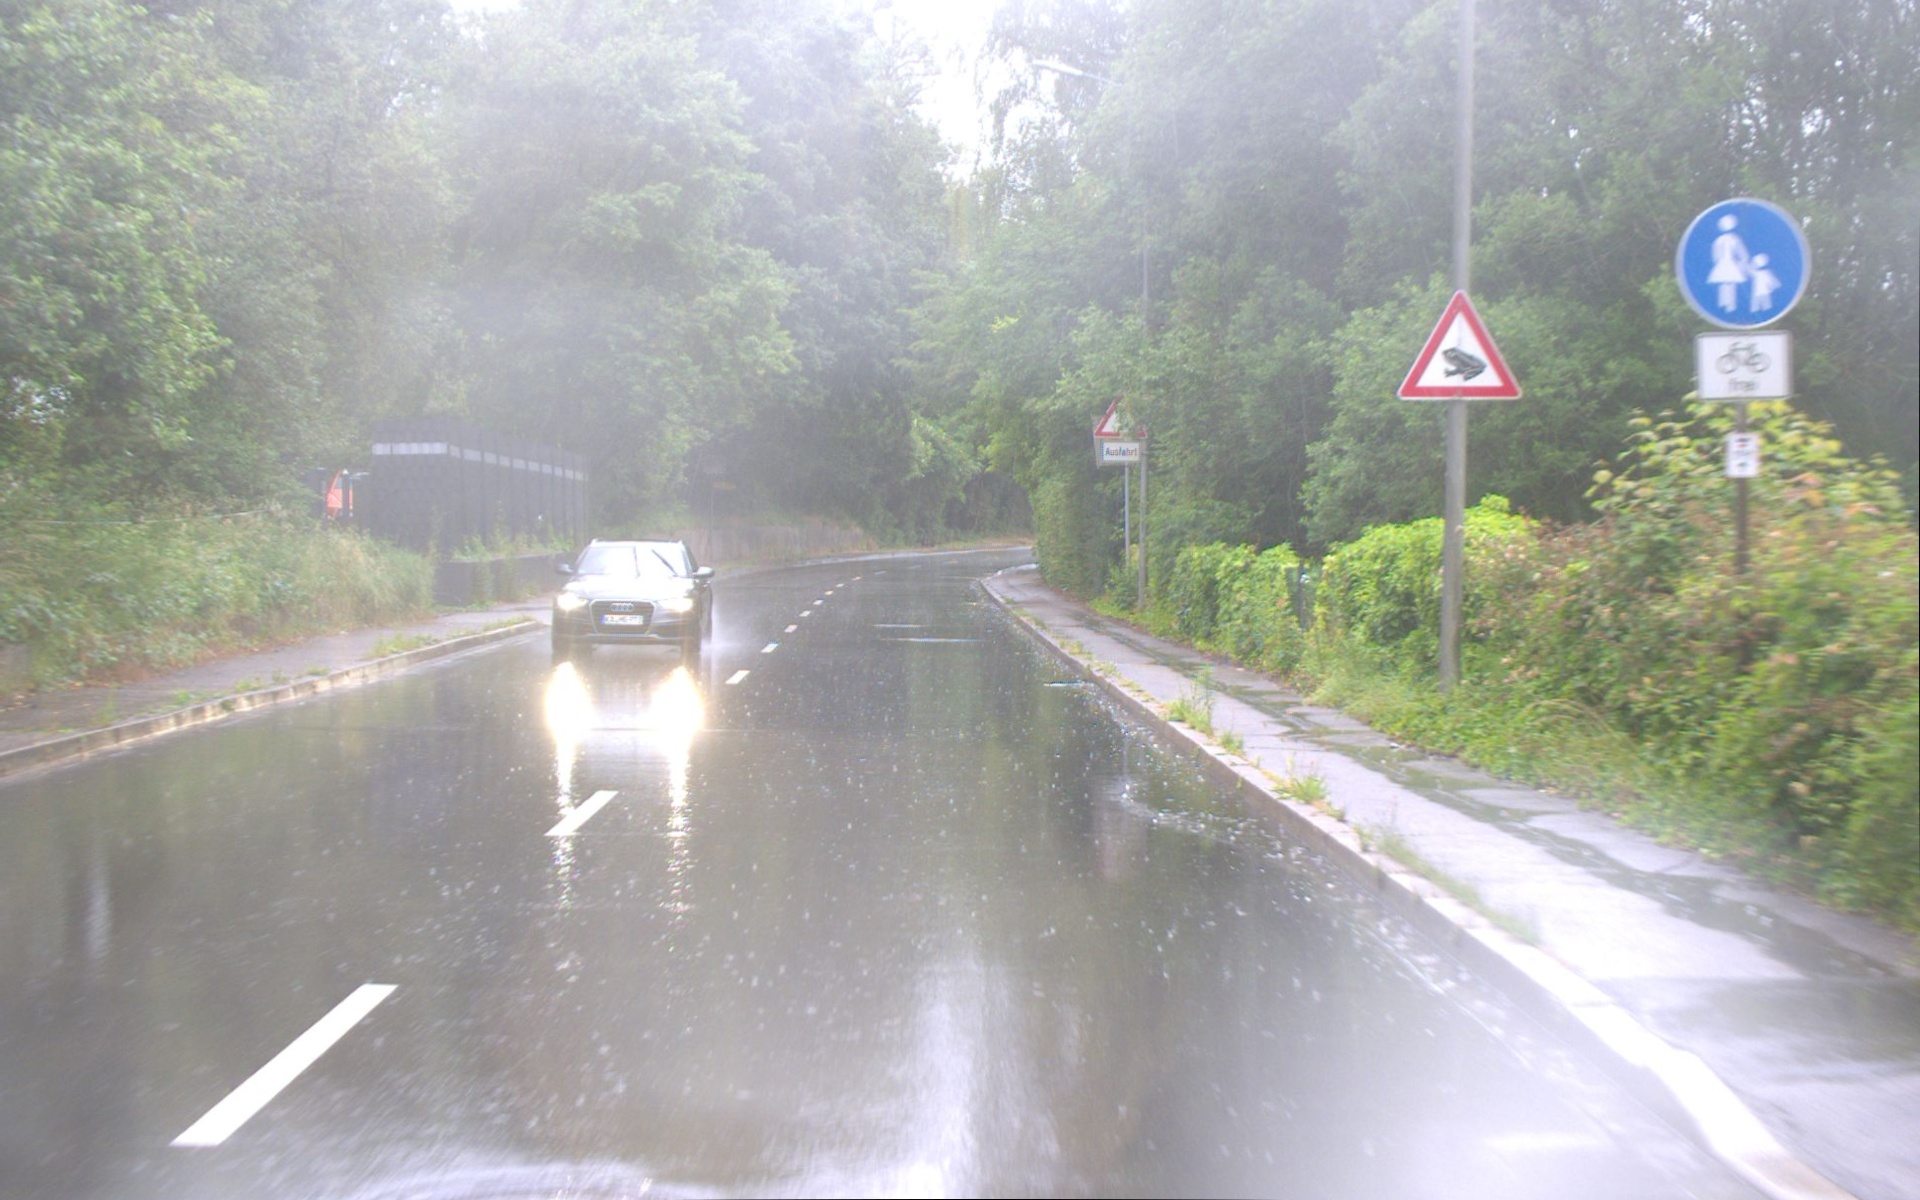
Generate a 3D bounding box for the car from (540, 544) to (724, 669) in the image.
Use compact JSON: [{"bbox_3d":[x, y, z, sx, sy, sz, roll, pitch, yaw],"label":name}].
[{"bbox_3d":[-4.201,0.044,44.643,1.993,1.449,4.428,1,2,-1],"label":"car"}]
